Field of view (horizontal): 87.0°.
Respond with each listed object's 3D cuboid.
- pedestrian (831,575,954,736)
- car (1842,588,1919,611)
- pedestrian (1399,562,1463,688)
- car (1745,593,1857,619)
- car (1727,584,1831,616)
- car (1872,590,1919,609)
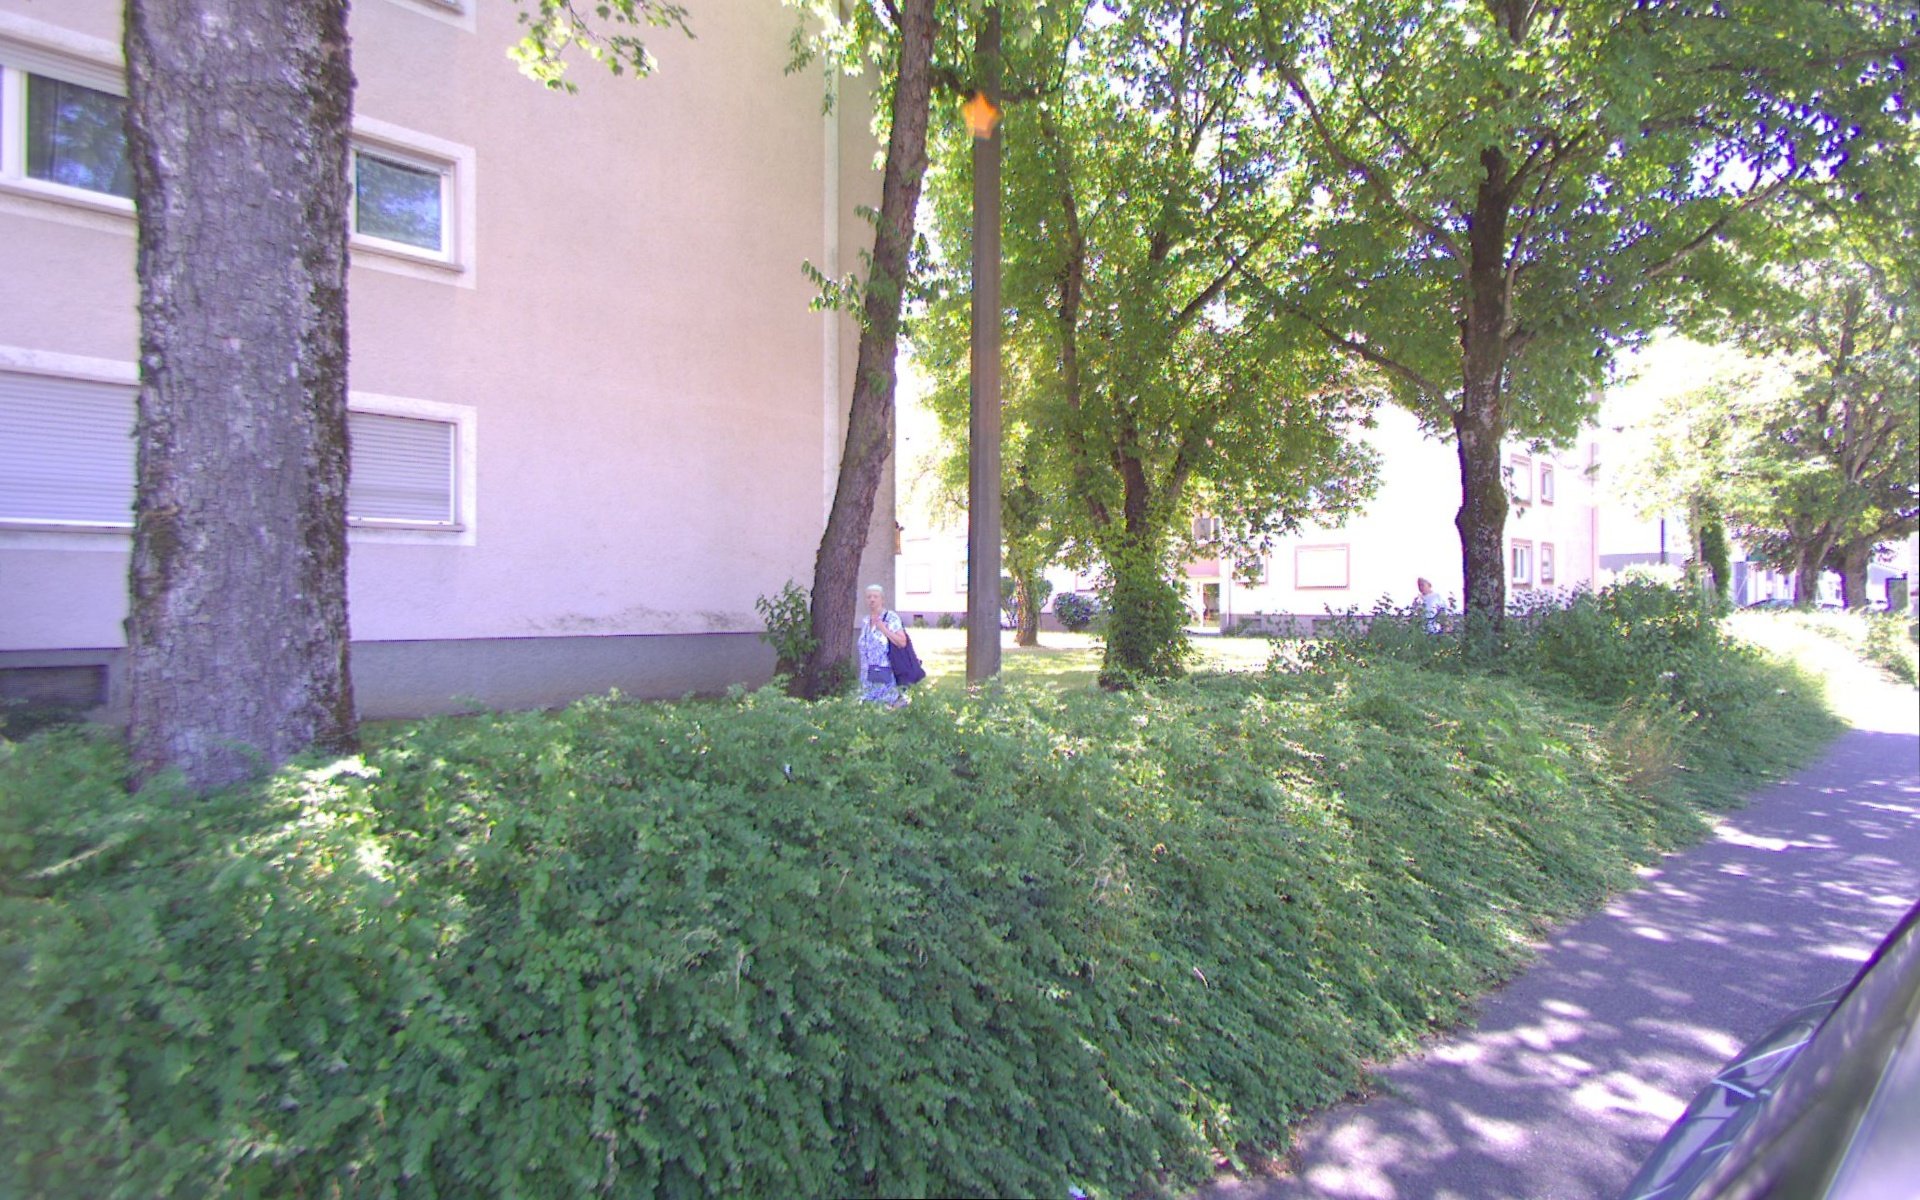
[{"bbox_3d":[-0.601,0.460,9.061,0.873,1.351,0.663,0,0,-41],"label":"pedestrian"},{"bbox_3d":[70.929,-0.056,77.553,1.958,1.662,4.606,0,1,-21],"label":"car"},{"bbox_3d":[7.492,0.379,16.101,0.648,1.938,0.705,0,0,-38],"label":"pedestrian"},{"bbox_3d":[45.553,0.310,54.949,4.315,1.388,1.937,0,0,27],"label":"car"},{"bbox_3d":[42.840,-0.038,52.976,1.766,1.569,3.994,-1,2,-41],"label":"car"},{"bbox_3d":[76.447,-0.045,81.566,1.768,1.479,4.007,-1,1,-25],"label":"car"}]
